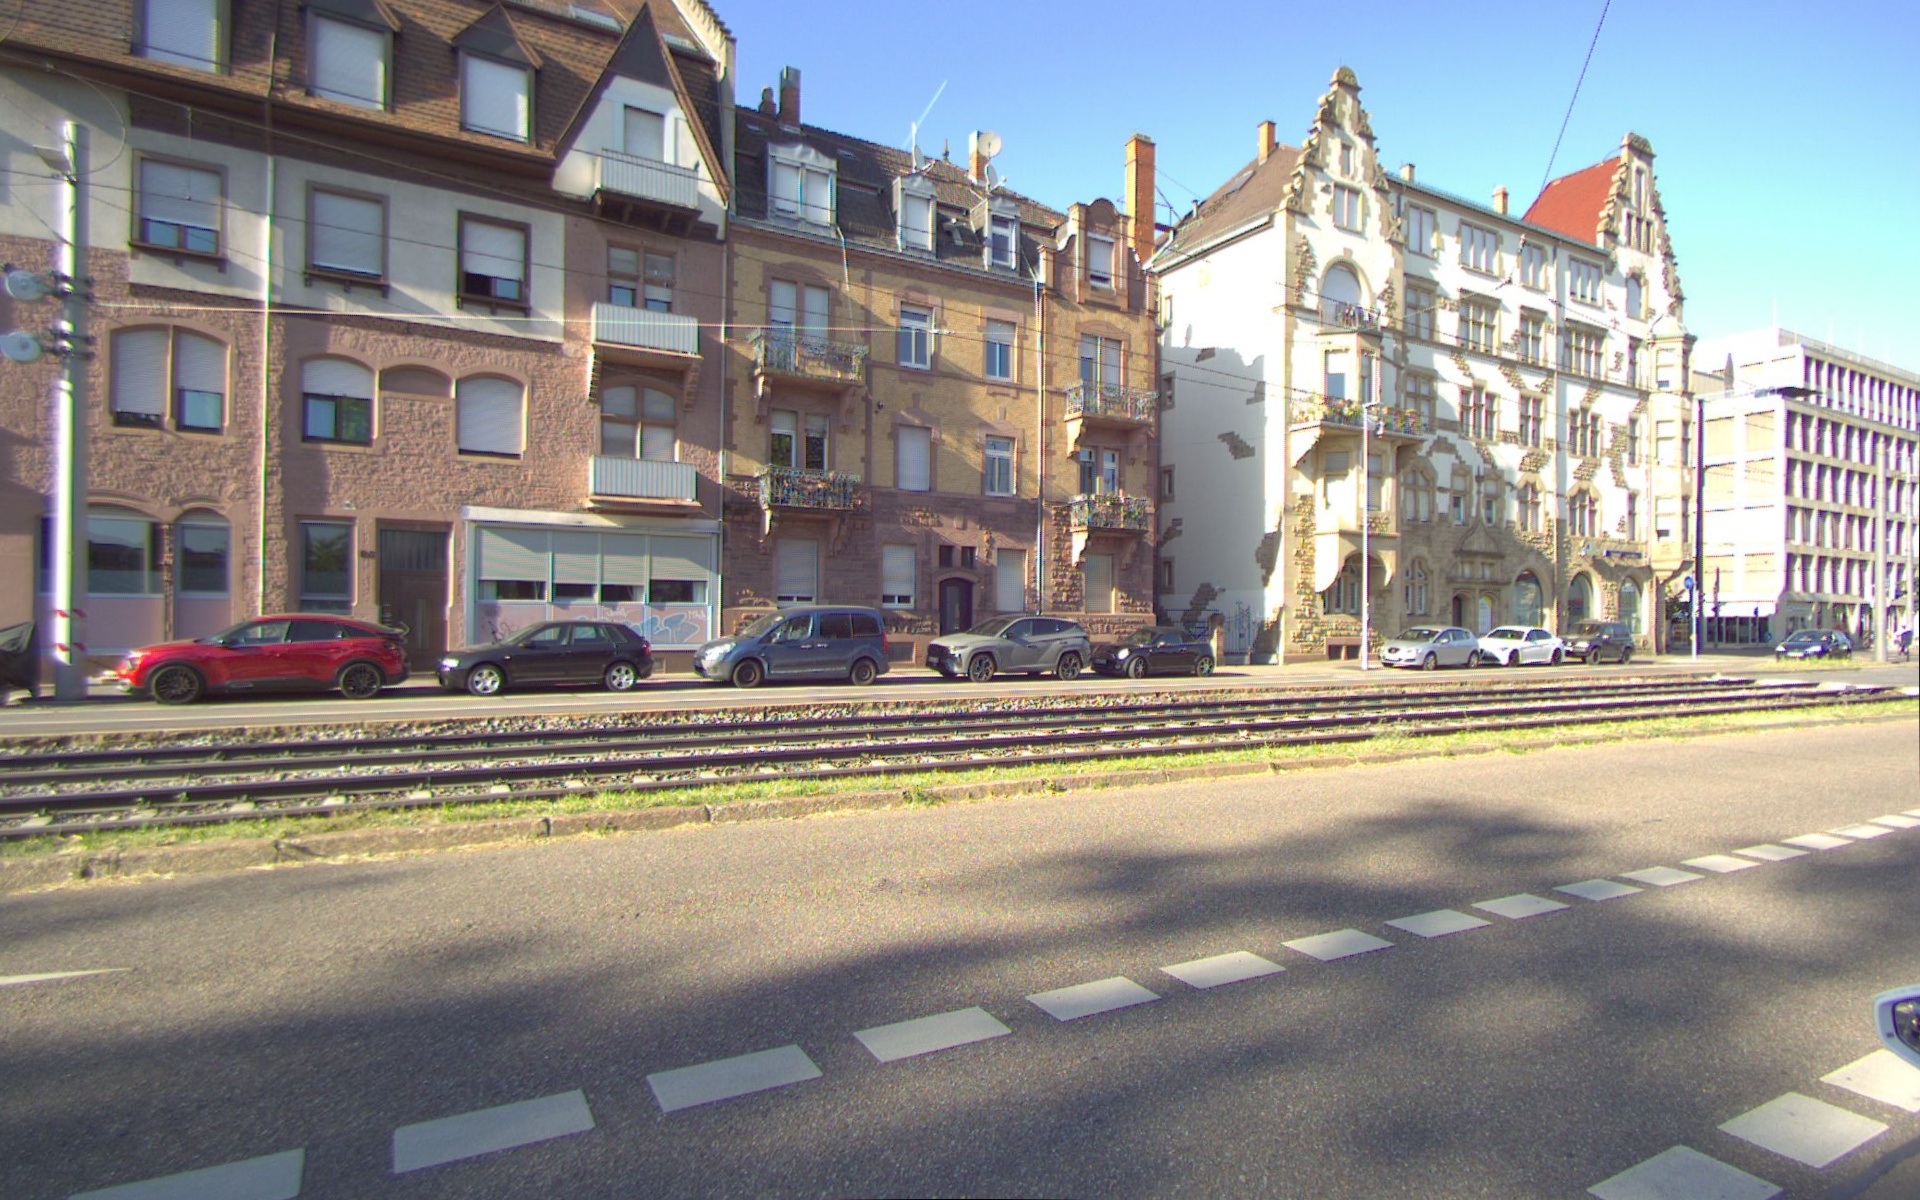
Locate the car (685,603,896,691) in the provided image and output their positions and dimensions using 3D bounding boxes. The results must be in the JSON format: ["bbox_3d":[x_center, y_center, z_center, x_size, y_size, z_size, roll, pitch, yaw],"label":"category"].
[{"bbox_3d":[-3.846,1.018,22.880,4.361,1.782,1.878,1,2,-28],"label":"car"}]

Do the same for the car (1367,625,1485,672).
[{"bbox_3d":[16.051,1.639,34.547,4.176,1.450,1.700,1,1,-32],"label":"car"}]

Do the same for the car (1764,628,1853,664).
[{"bbox_3d":[36.302,1.935,42.959,4.121,1.476,1.810,1,-2,-33],"label":"car"}]

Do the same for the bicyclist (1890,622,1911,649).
[{"bbox_3d":[54.552,2.064,58.273,0.775,1.583,0.682,1,-1,-28],"label":"bicyclist"}]

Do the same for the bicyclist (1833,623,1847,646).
[{"bbox_3d":[66.958,2.615,76.437,0.633,1.708,0.575,1,-1,-18],"label":"bicyclist"}]

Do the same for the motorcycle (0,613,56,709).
[{"bbox_3d":[-15.556,0.971,16.505,0.621,1.441,1.847,0,1,-28],"label":"motorcycle"}]

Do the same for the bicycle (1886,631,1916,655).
[{"bbox_3d":[54.646,2.476,58.316,1.923,1.400,0.682,1,-2,-29],"label":"bicycle"}]

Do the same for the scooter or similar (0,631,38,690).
[{"bbox_3d":[-17.702,1.108,18.454,1.108,1.083,0.203,1,0,-30],"label":"scooter or similar"}]

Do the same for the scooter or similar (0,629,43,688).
[{"bbox_3d":[-17.832,1.092,18.700,1.108,1.083,0.203,1,0,-30],"label":"scooter or similar"}]

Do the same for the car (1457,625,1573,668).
[{"bbox_3d":[20.816,1.714,37.623,4.603,1.442,1.708,1,1,-32],"label":"car"}]

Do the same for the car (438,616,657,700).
[{"bbox_3d":[-8.307,1.111,20.294,3.882,1.457,1.686,1,2,-31],"label":"car"}]

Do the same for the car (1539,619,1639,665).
[{"bbox_3d":[25.259,1.650,40.311,4.169,1.698,1.708,1,1,-31],"label":"car"}]

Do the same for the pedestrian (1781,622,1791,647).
[{"bbox_3d":[62.858,2.606,76.479,0.464,1.868,0.443,0,-1,23],"label":"pedestrian"}]

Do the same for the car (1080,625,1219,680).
[{"bbox_3d":[5.333,1.433,28.209,3.683,1.373,1.614,1,2,-31],"label":"car"}]

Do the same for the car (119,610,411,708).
[{"bbox_3d":[-12.374,0.996,18.235,4.162,1.519,1.846,1,2,-31],"label":"car"}]

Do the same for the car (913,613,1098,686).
[{"bbox_3d":[1.205,1.224,25.861,4.450,1.644,1.846,1,2,-31],"label":"car"}]

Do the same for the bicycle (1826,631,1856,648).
[{"bbox_3d":[67.061,3.014,76.467,2.351,1.231,0.575,1,-1,-18],"label":"bicycle"}]
